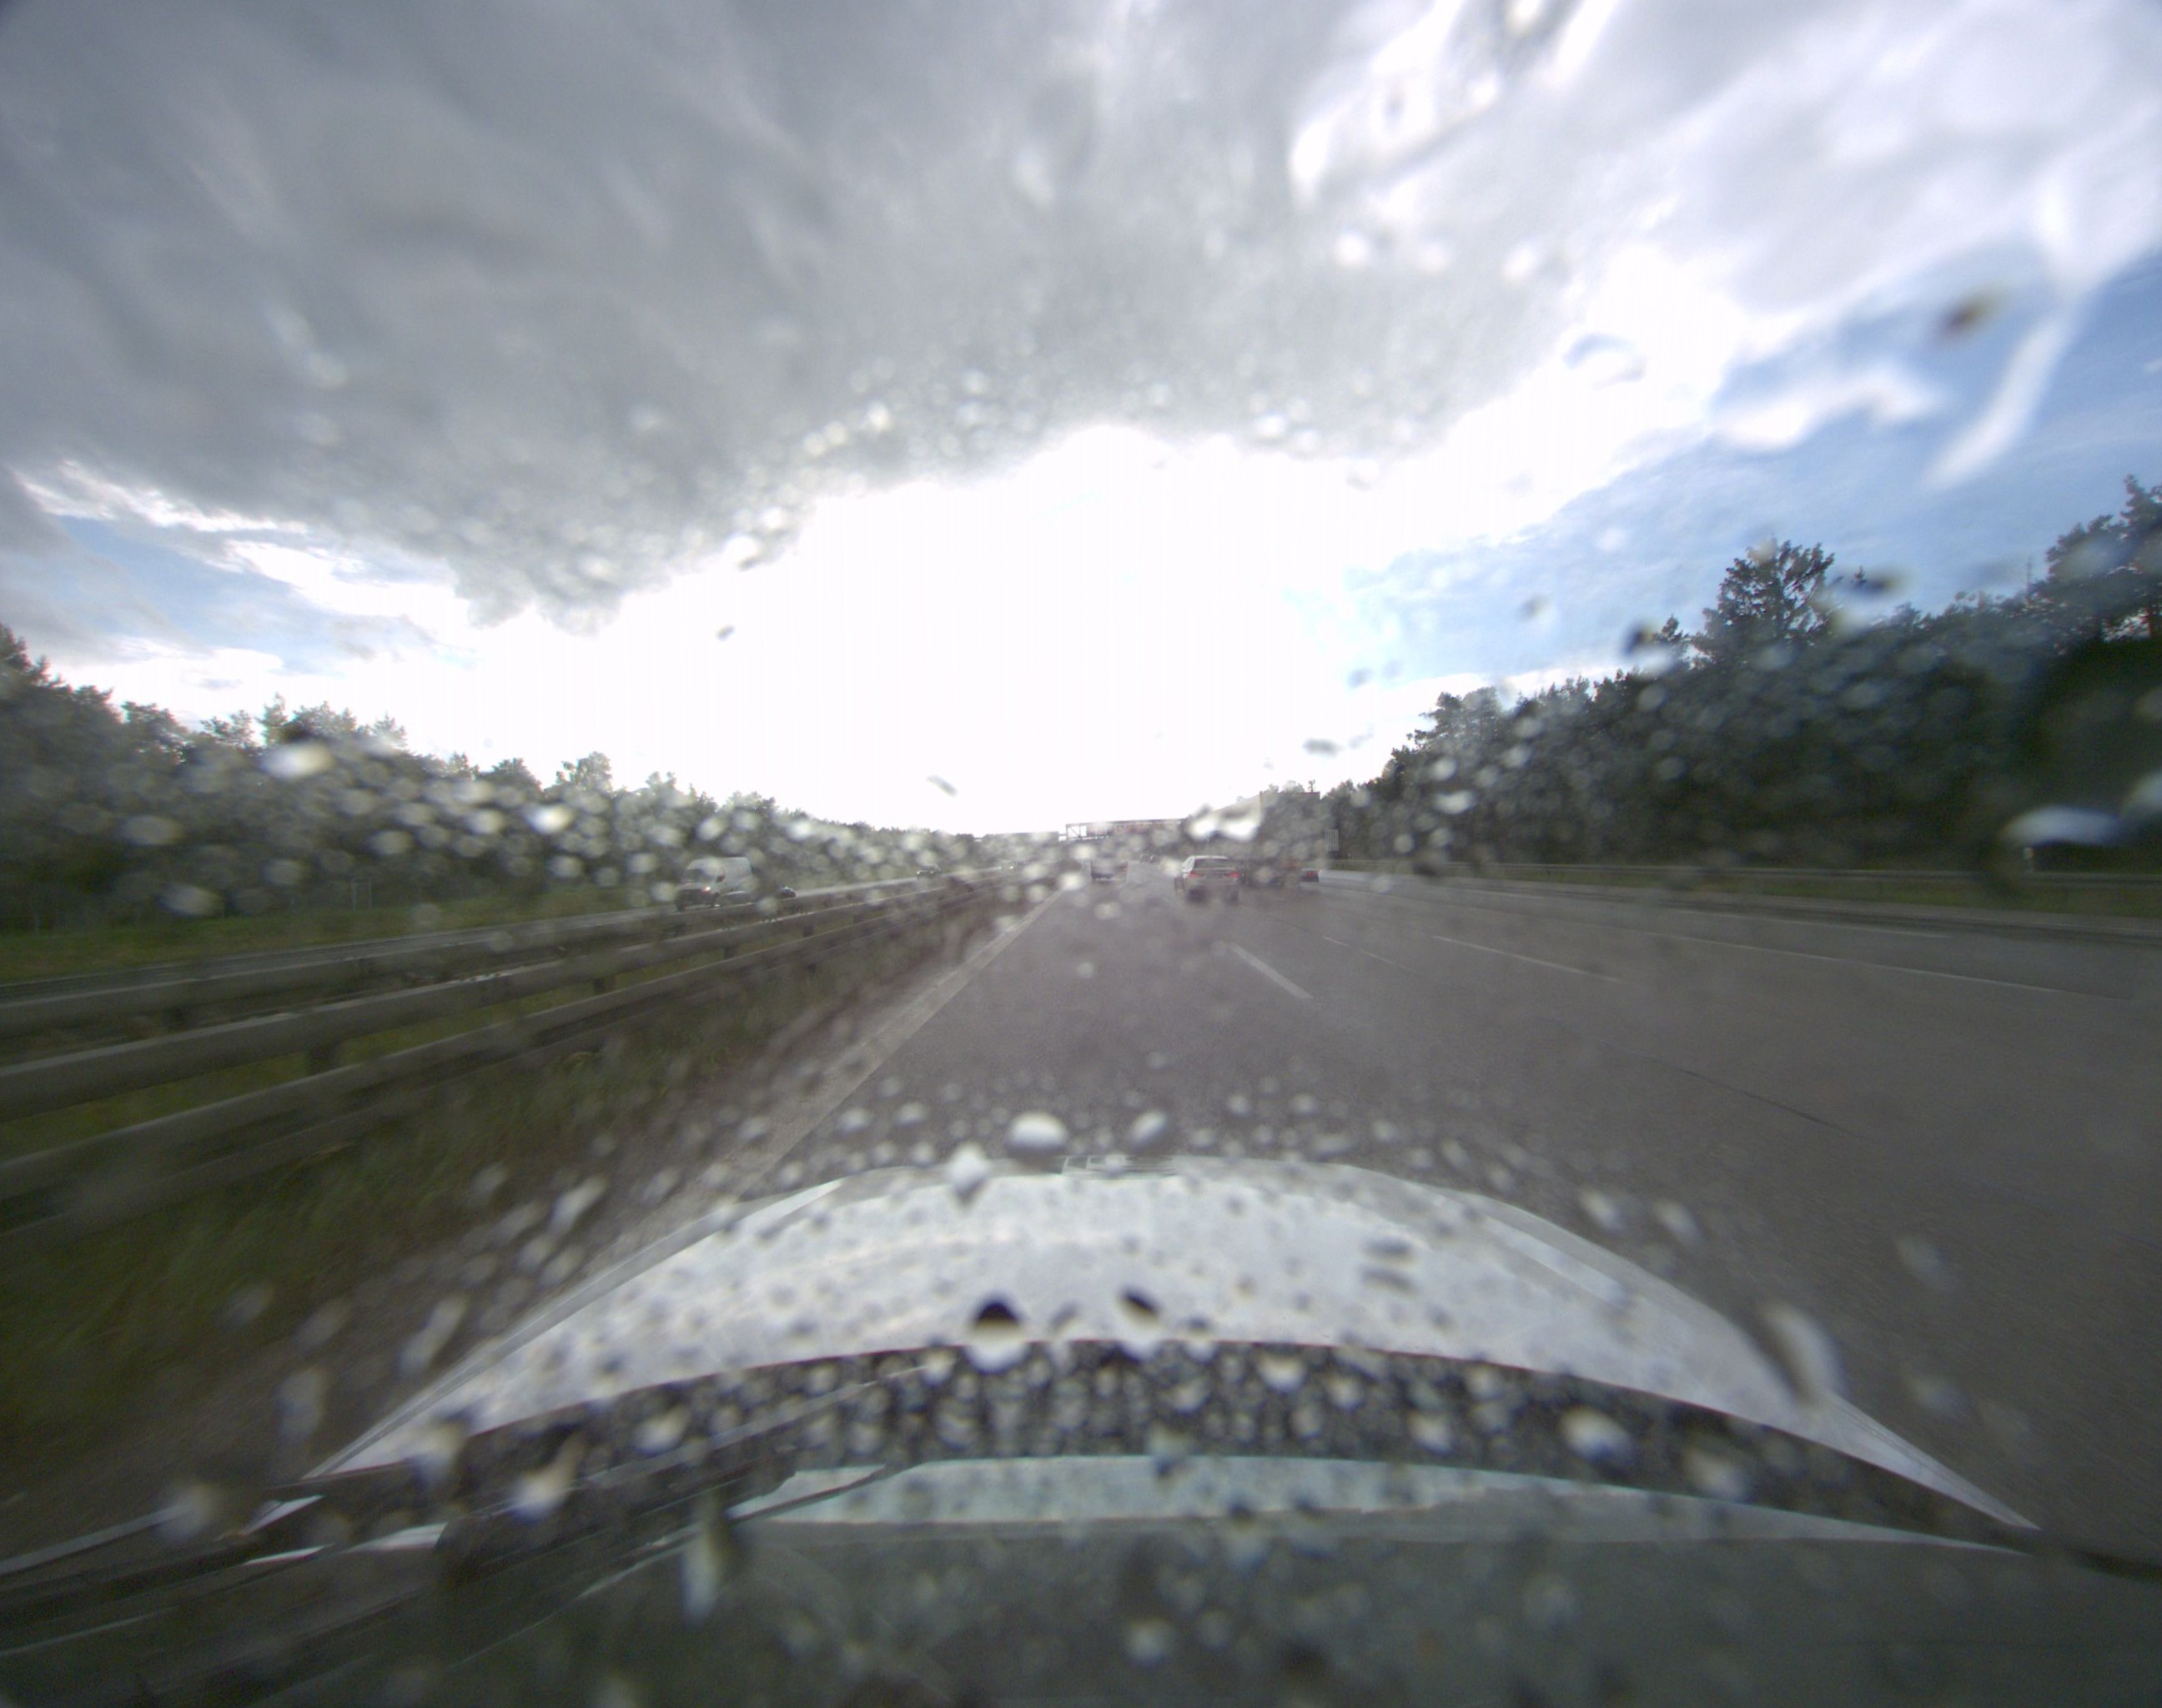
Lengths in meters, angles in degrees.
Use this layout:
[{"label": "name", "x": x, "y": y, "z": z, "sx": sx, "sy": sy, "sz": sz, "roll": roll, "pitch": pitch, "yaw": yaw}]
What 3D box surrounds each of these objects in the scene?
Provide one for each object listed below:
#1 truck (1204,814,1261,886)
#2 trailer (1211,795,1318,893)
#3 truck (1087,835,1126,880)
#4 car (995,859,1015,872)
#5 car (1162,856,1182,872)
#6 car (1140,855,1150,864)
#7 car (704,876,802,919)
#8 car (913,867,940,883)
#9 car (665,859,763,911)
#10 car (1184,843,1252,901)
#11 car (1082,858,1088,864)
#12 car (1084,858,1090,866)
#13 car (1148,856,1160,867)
[{"label": "truck", "x": 8.711, "y": -0.204, "z": 47.411, "sx": 2.286, "sy": 3.868, "sz": 5.392, "roll": -1, "pitch": 0, "yaw": 0}, {"label": "trailer", "x": 8.647, "y": -0.397, "z": 40.406, "sx": 2.316, "sy": 4.001, "sz": 13.411, "roll": -1, "pitch": 0, "yaw": 0}, {"label": "truck", "x": 1.548, "y": 0.189, "z": 47.495, "sx": 2.129, "sy": 2.489, "sz": 5.316, "roll": -1, "pitch": 0, "yaw": 3}, {"label": "car", "x": -8.619, "y": 1.292, "z": 92.435, "sx": 1.869, "sy": 1.431, "sz": 3.999, "roll": -2, "pitch": 0, "yaw": 0}, {"label": "car", "x": 8.761, "y": 0.954, "z": 78.728, "sx": 1.822, "sy": 1.466, "sz": 4.005, "roll": -1, "pitch": 0, "yaw": 5}, {"label": "car", "x": 13.775, "y": 1.185, "z": 174.806, "sx": 1.735, "sy": 1.688, "sz": 4.000, "roll": -1, "pitch": 0, "yaw": 0}, {"label": "car", "x": -12.338, "y": 1.592, "z": 30.983, "sx": 1.691, "sy": 1.325, "sz": 4.669, "roll": -3, "pitch": 0, "yaw": 2}, {"label": "car", "x": -15.167, "y": 2.044, "z": 80.139, "sx": 1.869, "sy": 1.472, "sz": 3.999, "roll": -3, "pitch": 0, "yaw": 0}, {"label": "car", "x": -19.590, "y": 1.554, "z": 43.862, "sx": 2.090, "sy": 2.511, "sz": 6.586, "roll": -1, "pitch": 0, "yaw": 2}, {"label": "car", "x": 4.739, "y": 0.571, "z": 28.723, "sx": 2.067, "sy": 1.885, "sz": 5.020, "roll": 0, "pitch": 0, "yaw": 6}, {"label": "car", "x": 1.155, "y": 2.145, "z": 256.919, "sx": 1.788, "sy": 2.013, "sz": 4.002, "roll": 0, "pitch": 0, "yaw": 2}, {"label": "car", "x": 1.521, "y": 1.991, "z": 212.288, "sx": 1.612, "sy": 2.013, "sz": 3.999, "roll": 0, "pitch": 0, "yaw": 0}, {"label": "car", "x": 13.631, "y": 1.359, "z": 152.112, "sx": 1.985, "sy": 2.013, "sz": 4.004, "roll": 0, "pitch": 0, "yaw": 4}]
